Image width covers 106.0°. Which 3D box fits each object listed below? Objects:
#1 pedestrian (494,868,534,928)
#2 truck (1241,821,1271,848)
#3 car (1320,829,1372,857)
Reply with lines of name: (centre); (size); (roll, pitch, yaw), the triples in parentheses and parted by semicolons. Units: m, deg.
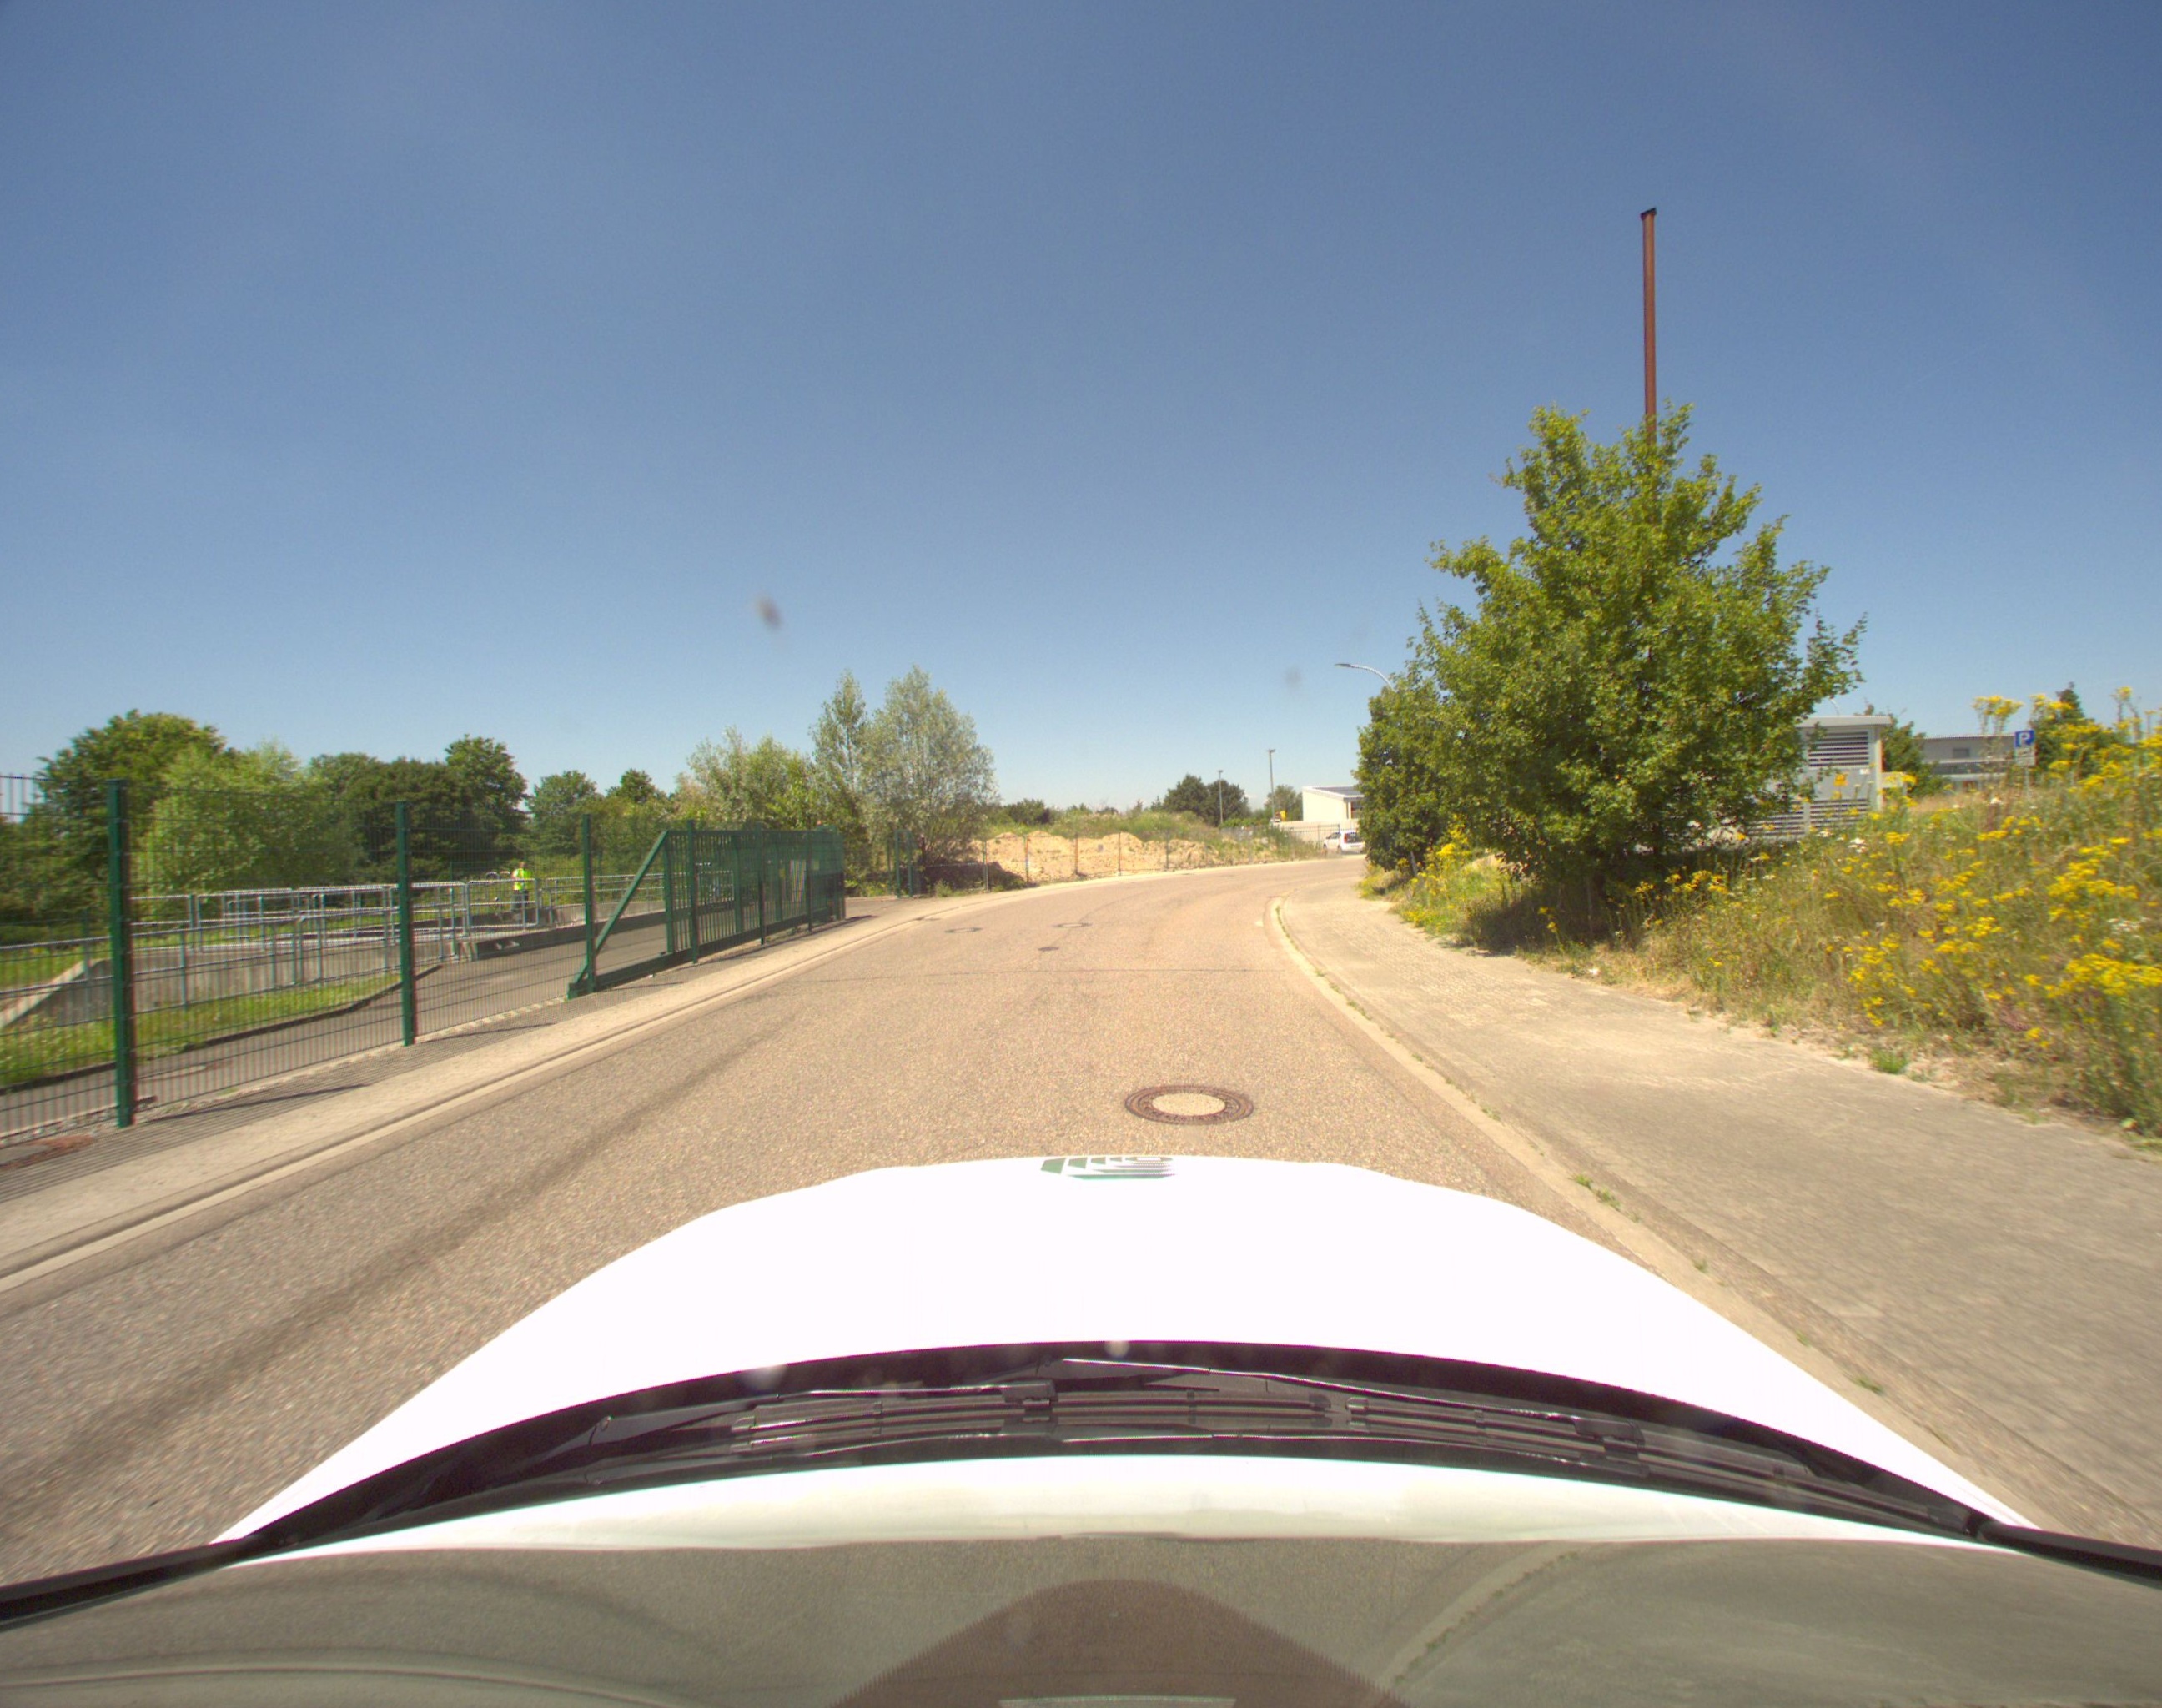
pedestrian: (-18.152, 1.401, 26.089); (0.604, 1.839, 0.804); (-3, 0, -1)
truck: (20.470, -2.228, 95.408); (1.990, 2.984, 4.638); (-3, 0, -4)
car: (16.777, -0.720, 51.769); (1.780, 1.498, 3.697); (-3, 4, -6)
